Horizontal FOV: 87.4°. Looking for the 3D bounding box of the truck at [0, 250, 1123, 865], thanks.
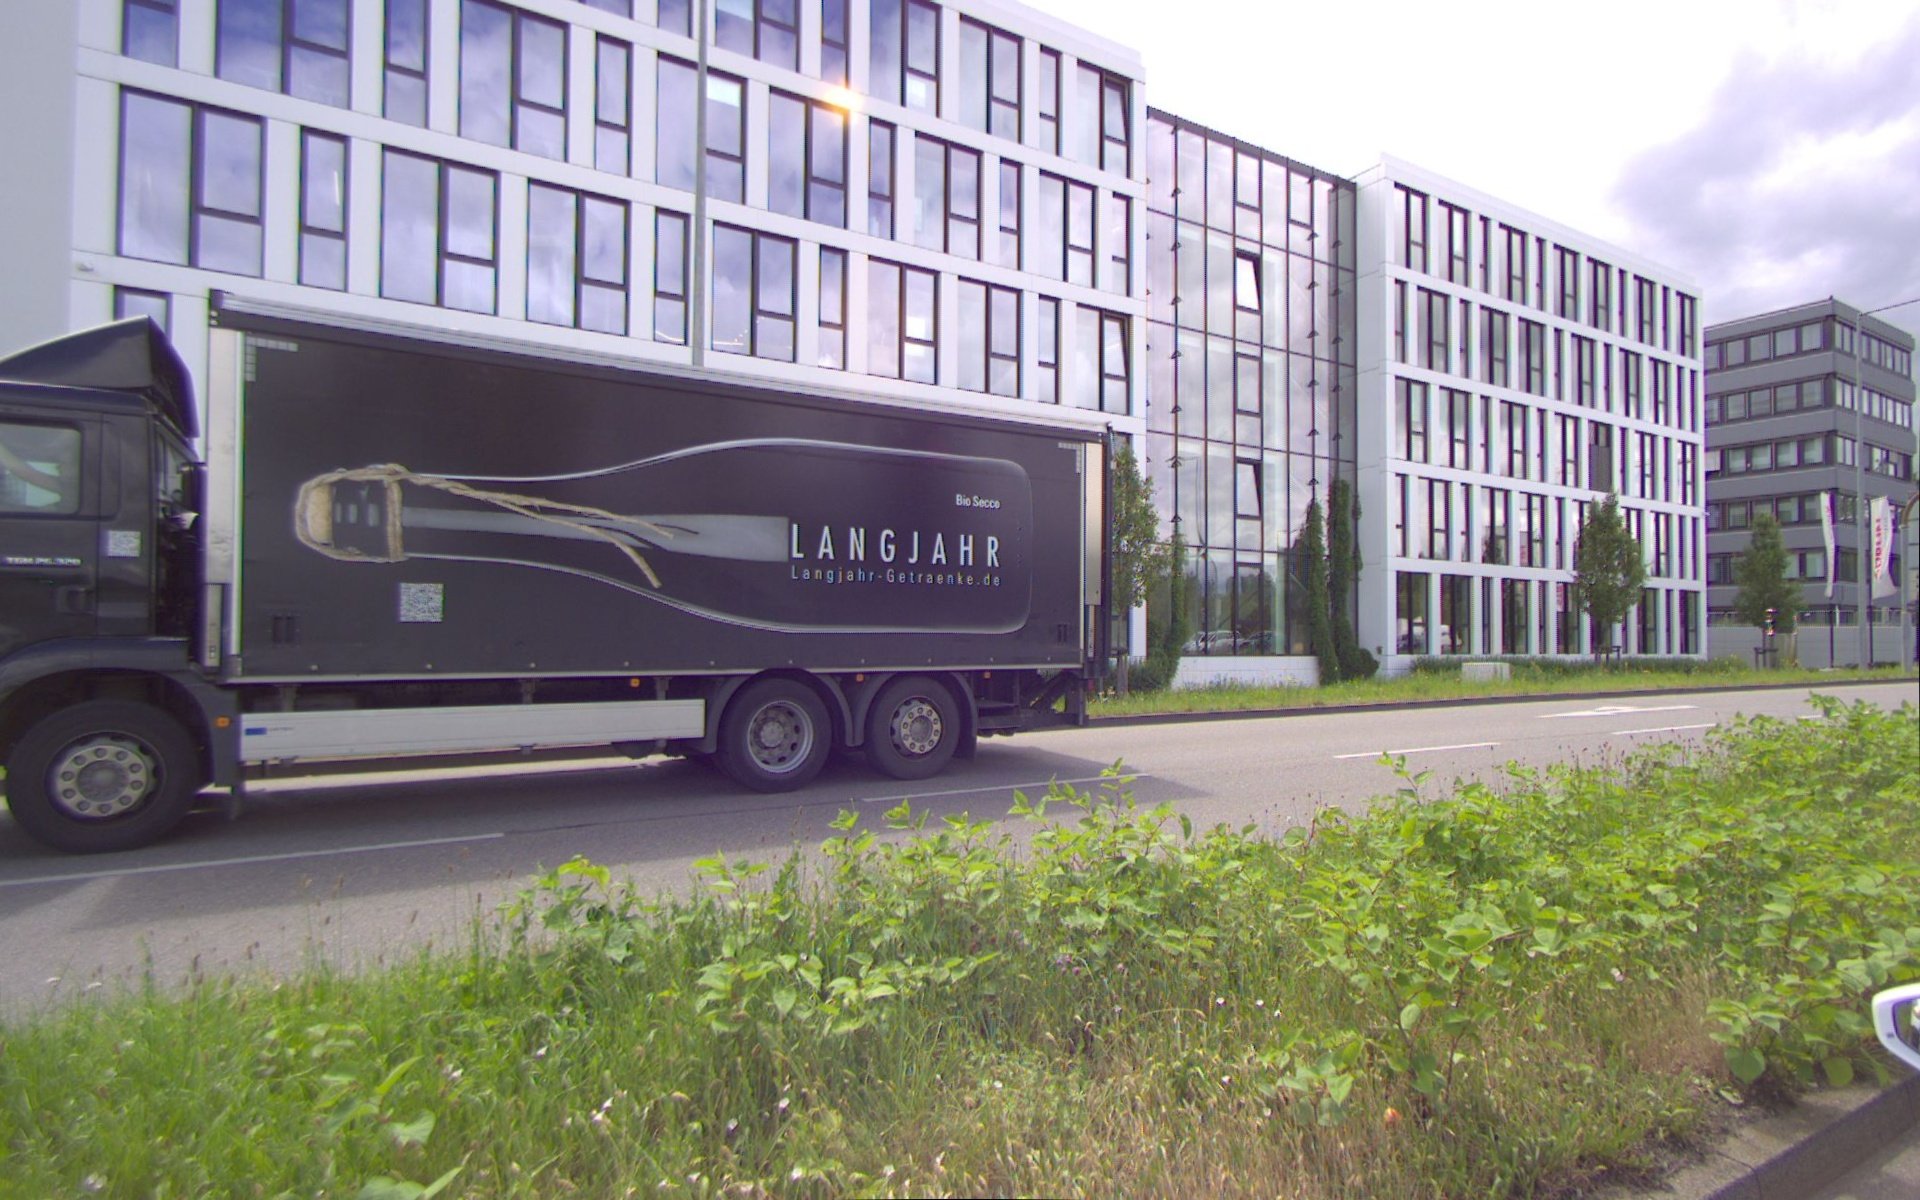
[{"bbox_3d":[-3.187,-0.186,9.065,9.415,3.564,3.152,1,-1,-31],"label":"truck"}]
